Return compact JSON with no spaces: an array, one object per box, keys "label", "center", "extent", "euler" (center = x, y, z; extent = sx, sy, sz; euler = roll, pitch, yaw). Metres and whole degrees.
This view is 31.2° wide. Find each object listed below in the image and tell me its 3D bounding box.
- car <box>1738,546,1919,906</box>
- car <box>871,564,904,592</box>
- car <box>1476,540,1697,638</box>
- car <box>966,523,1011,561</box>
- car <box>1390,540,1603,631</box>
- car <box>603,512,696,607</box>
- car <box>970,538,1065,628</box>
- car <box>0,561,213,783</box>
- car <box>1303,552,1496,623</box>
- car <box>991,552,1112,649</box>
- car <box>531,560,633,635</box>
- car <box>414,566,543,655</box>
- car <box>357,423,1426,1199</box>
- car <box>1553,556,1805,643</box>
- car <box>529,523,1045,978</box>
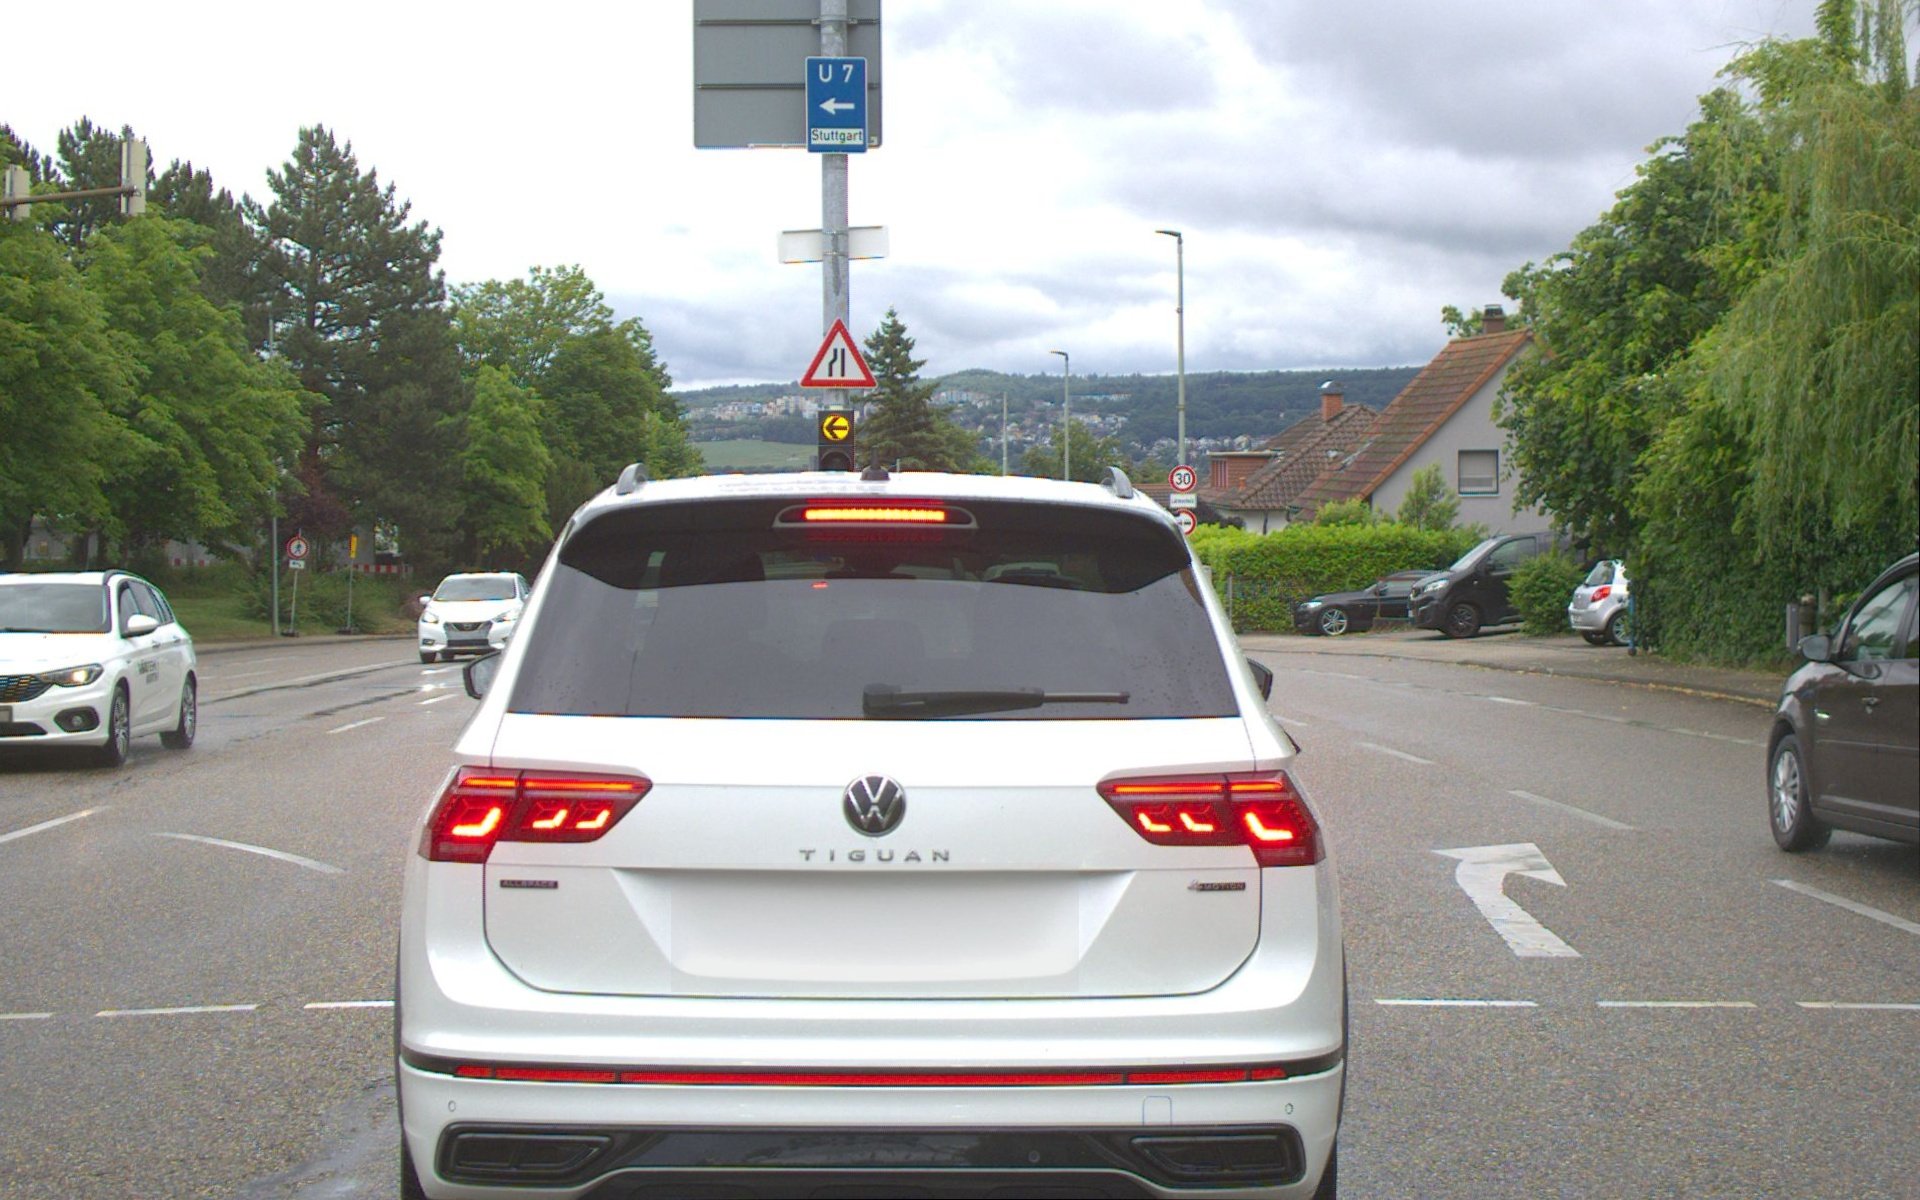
[{"label":"car","center":[5.046,0.557,15.972],"extent":[1.735,1.569,4.069],"euler":[1,1,-3]},{"label":"car","center":[-4.239,-1.264,200.639],"extent":[1.850,1.569,4.000],"euler":[-1,1,0]},{"label":"car","center":[11.338,-0.198,62.343],"extent":[3.627,1.741,1.708],"euler":[0,0,-4]},{"label":"car","center":[1.203,-2.486,146.541],"extent":[1.850,1.569,4.000],"euler":[-1,1,0]},{"label":"car","center":[10.084,-0.258,64.772],"extent":[3.627,1.621,1.791],"euler":[1,-1,-4]},{"label":"car","center":[-8.421,-1.124,93.670],"extent":[2.297,2.519,5.774],"euler":[0,1,-3]},{"label":"car","center":[1.126,-0.371,68.987],"extent":[1.712,1.752,3.802],"euler":[0,1,-2]},{"label":"car","center":[-7.265,0.507,26.923],"extent":[1.967,1.449,4.310],"euler":[-1,2,-2]},{"label":"car","center":[8.899,-0.252,69.723],"extent":[3.687,1.365,1.519],"euler":[1,-1,-2]},{"label":"car","center":[1.415,-0.015,54.480],"extent":[1.680,1.455,3.802],"euler":[1,1,-2]},{"label":"car","center":[-7.935,-0.079,72.451],"extent":[1.775,1.497,4.472],"euler":[0,1,-2]},{"label":"car","center":[-7.940,0.143,56.905],"extent":[1.746,1.392,3.802],"euler":[0,1,-2]},{"label":"car","center":[-0.172,0.540,7.939],"extent":[1.763,1.690,4.273],"euler":[2,1,-1]},{"label":"car","center":[11.909,-0.006,57.049],"extent":[3.713,1.390,1.729],"euler":[-1,0,-7]},{"label":"car","center":[-0.615,0.498,14.047],"extent":[1.798,1.584,3.926],"euler":[1,1,0]}]
